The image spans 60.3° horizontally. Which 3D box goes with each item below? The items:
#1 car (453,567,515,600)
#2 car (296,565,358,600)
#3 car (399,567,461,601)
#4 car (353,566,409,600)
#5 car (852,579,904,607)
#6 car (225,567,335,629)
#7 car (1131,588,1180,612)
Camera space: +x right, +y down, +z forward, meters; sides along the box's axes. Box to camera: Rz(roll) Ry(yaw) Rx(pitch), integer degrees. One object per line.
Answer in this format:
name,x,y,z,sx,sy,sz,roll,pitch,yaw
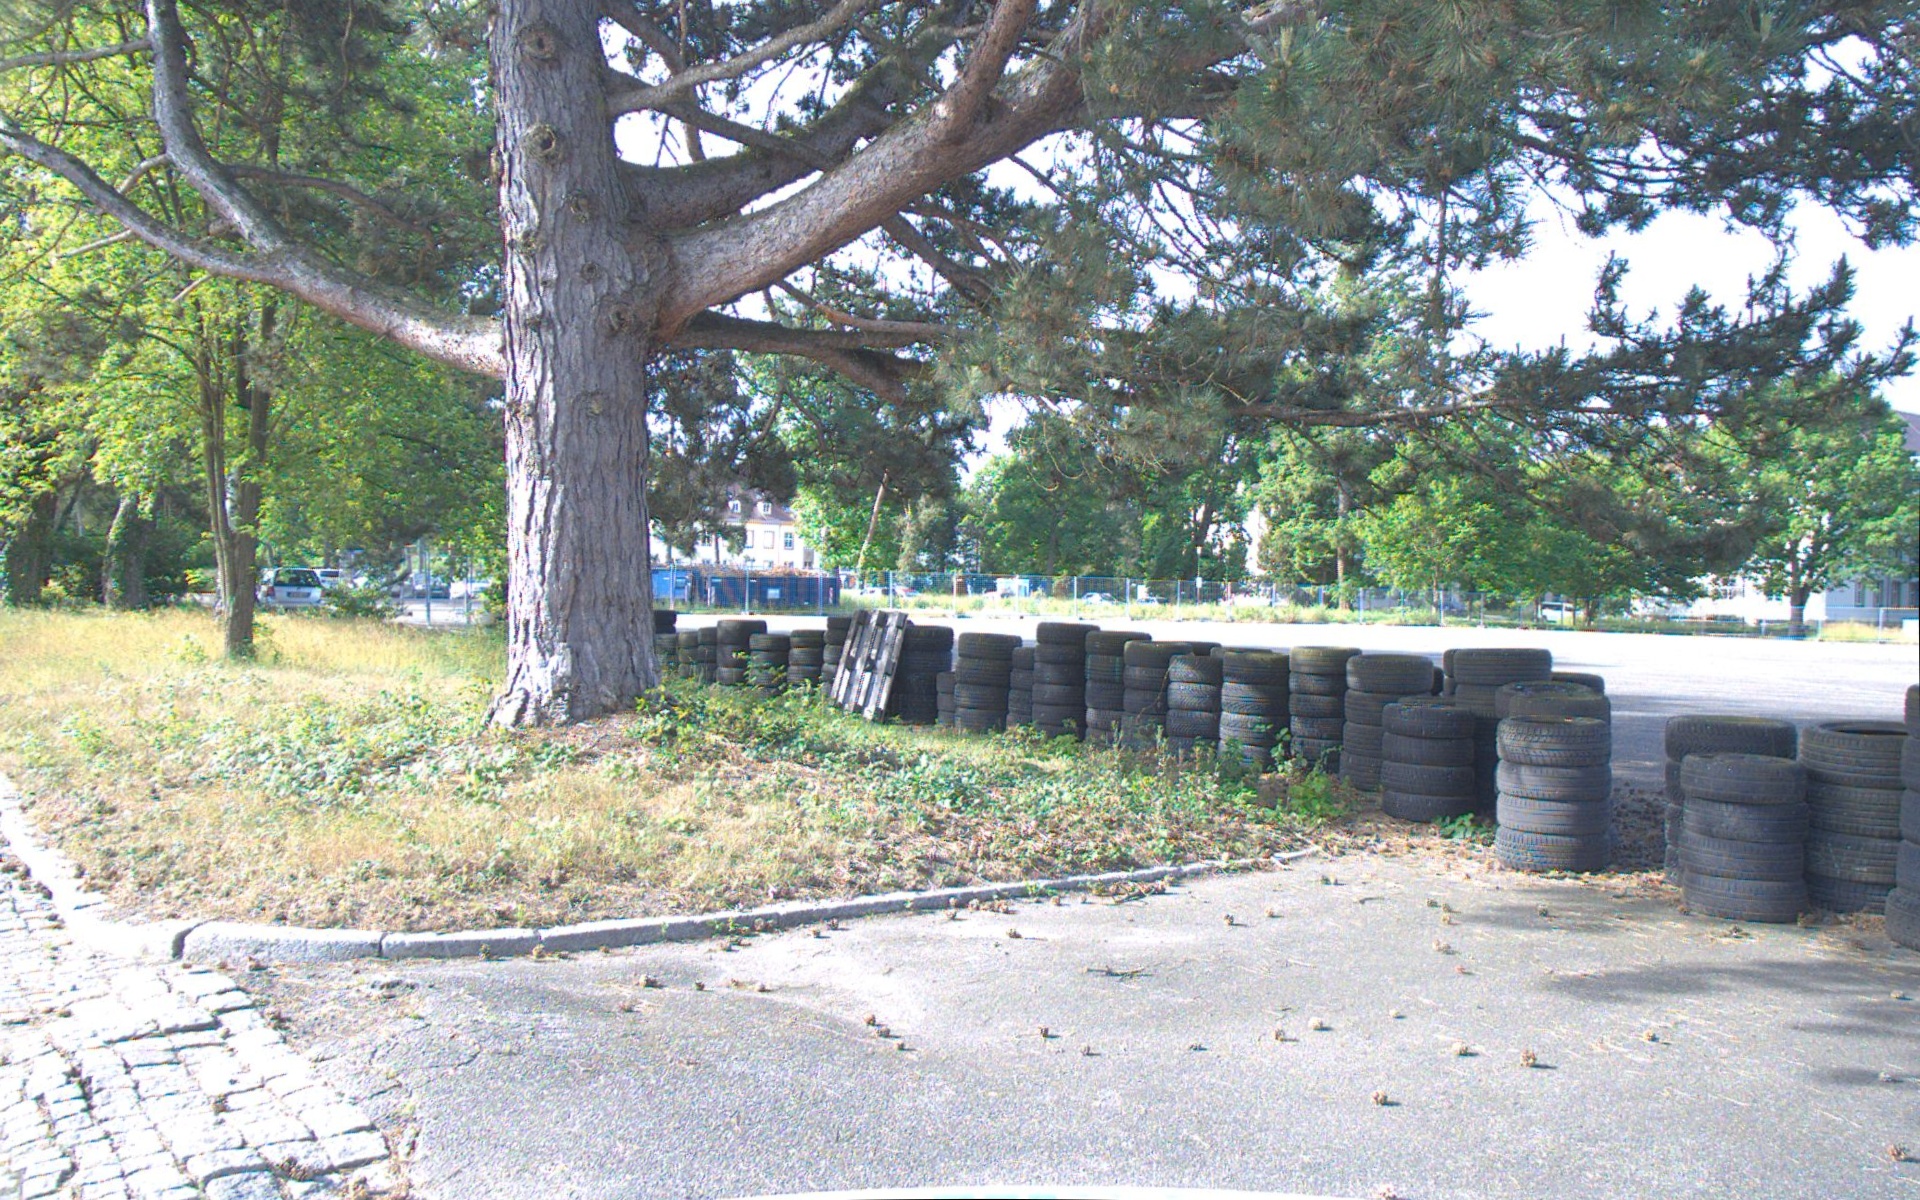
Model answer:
car,-24.902,-0.868,86.443,1.976,1.646,3.952,1,1,-34
car,-31.031,-0.874,81.059,1.976,1.646,3.952,1,1,-34
car,-27.106,-0.839,84.508,1.976,1.646,3.952,1,1,-34
car,-28.994,-0.864,82.819,1.804,1.646,3.956,1,1,-32
car,-5.652,-0.484,113.343,1.972,1.780,3.961,1,0,-29
car,-18.397,-0.084,44.654,1.871,1.568,3.949,1,0,-36
car,15.062,-0.023,127.746,1.968,1.780,3.969,1,0,-25
